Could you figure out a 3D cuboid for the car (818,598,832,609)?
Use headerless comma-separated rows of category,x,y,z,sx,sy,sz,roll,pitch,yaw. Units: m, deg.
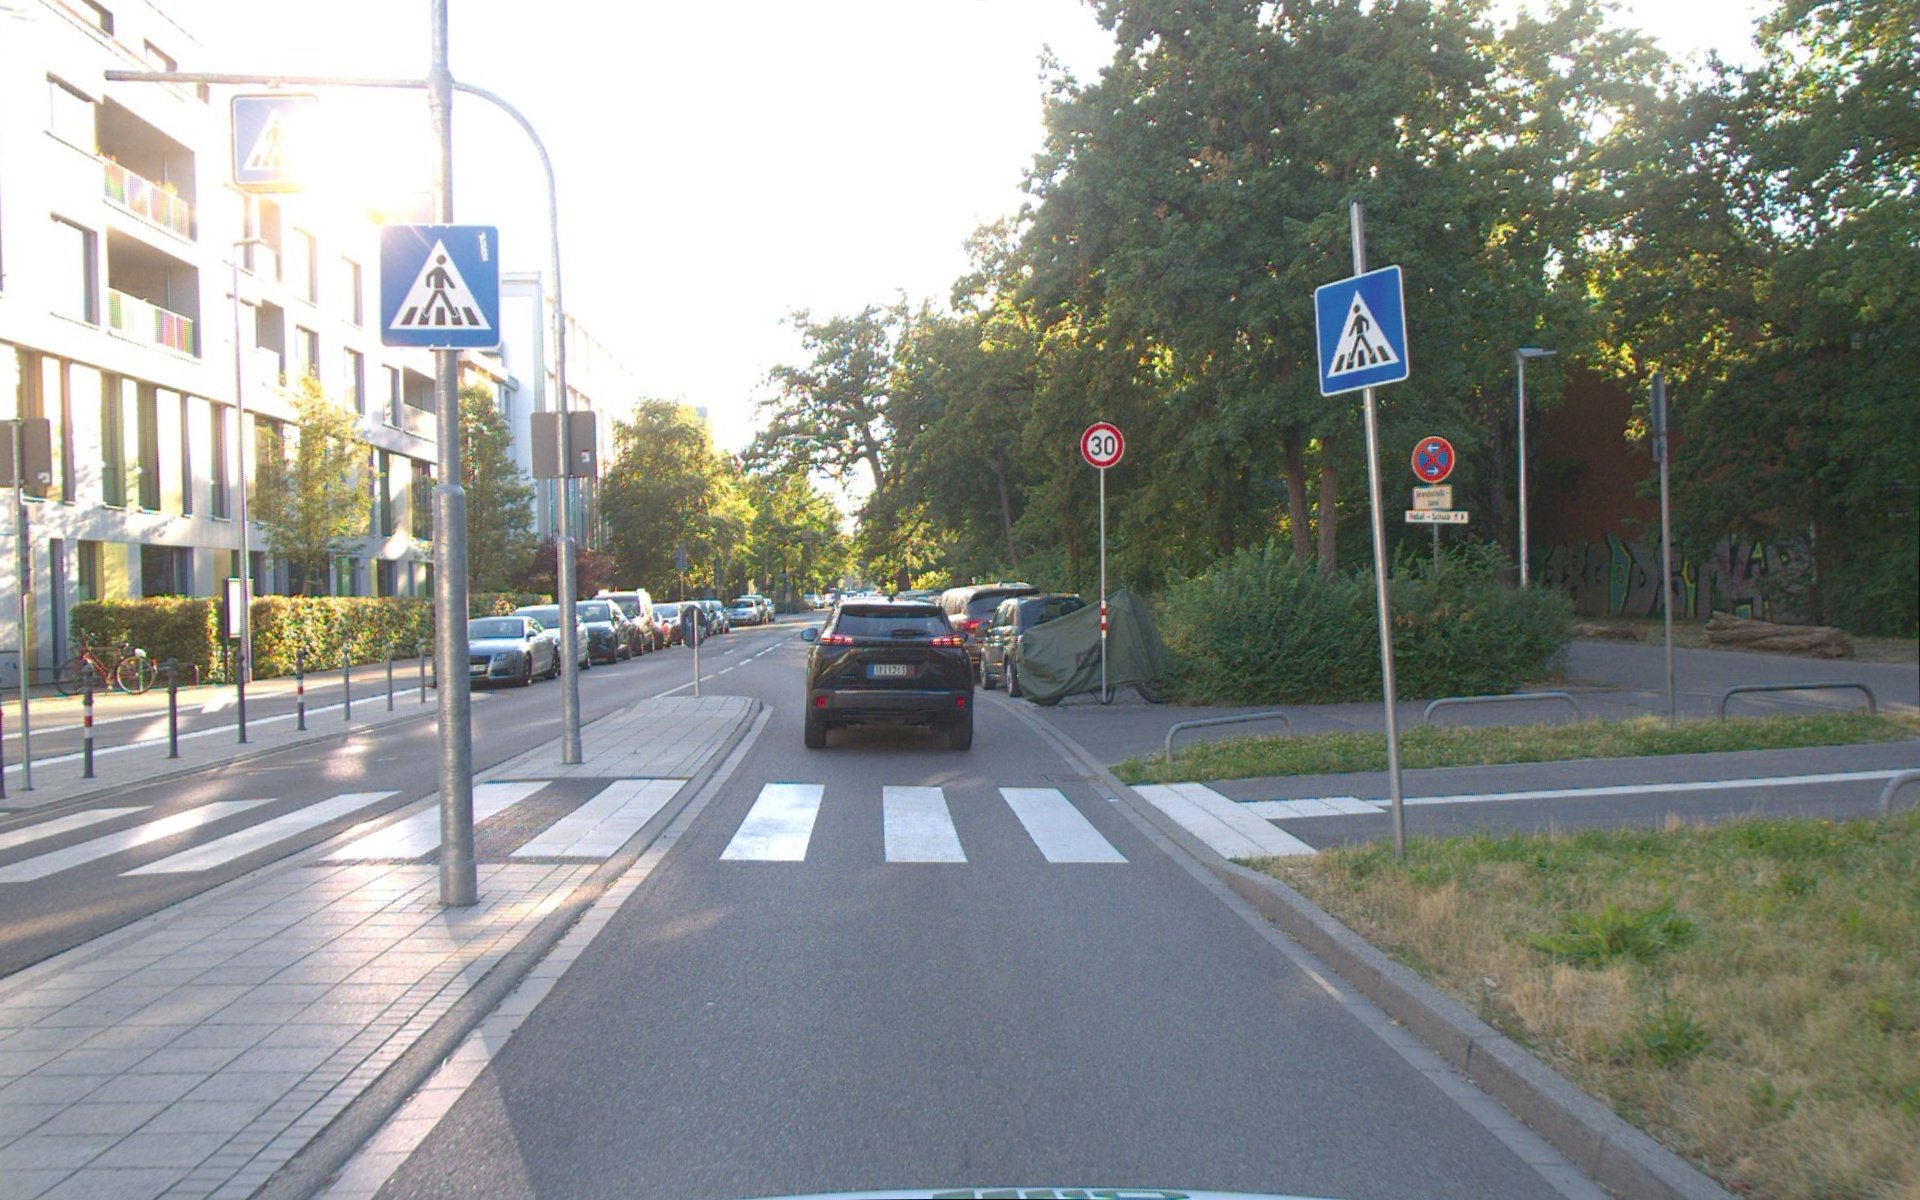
car,-18.115,0.464,221.442,1.776,1.377,3.973,-2,0,-7

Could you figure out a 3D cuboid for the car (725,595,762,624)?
car,-12.073,0.539,92.471,1.637,1.520,4.059,-2,0,-2

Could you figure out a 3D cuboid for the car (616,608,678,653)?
car,-10.380,0.998,55.094,1.525,1.302,3.730,-3,1,-4

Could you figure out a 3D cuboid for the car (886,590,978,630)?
car,-1.341,0.462,79.021,4.251,1.500,1.741,-4,1,-2

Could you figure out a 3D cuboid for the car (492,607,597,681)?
car,-9.700,0.991,38.888,1.708,1.560,4.111,-2,0,-5

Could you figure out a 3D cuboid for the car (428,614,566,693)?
car,-9.328,1.035,33.644,1.707,1.380,4.394,-2,0,-3

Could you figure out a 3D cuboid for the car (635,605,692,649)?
car,-10.642,0.940,59.559,1.567,1.480,3.858,-2,0,-4

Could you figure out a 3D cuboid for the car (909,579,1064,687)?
car,0.392,0.572,30.826,1.888,1.779,4.652,-2,0,-12

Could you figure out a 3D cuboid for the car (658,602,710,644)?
car,-10.915,0.891,65.641,1.567,1.480,4.052,-3,1,-4

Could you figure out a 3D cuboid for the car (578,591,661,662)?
car,-10.202,0.750,49.828,1.772,1.922,4.235,-3,1,-4

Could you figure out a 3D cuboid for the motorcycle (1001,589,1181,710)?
motorcycle,1.812,0.676,22.725,2.243,1.572,1.040,-2,0,18

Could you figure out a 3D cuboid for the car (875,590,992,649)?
car,-0.869,0.601,53.122,3.540,1.551,1.670,-5,1,-5

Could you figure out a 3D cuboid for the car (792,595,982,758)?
car,-0.877,0.756,17.931,1.735,1.596,3.374,0,0,-8

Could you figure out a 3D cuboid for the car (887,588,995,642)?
car,-0.697,0.506,58.196,3.596,1.579,1.733,-5,1,-5

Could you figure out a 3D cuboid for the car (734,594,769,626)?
car,-12.354,0.584,98.211,1.646,1.738,4.338,-3,1,-2

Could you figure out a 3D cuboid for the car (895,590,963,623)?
car,-1.709,0.355,89.840,3.518,1.593,1.817,-4,-1,-4

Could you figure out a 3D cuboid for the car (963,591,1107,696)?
car,1.147,0.649,26.673,1.590,1.512,3.411,-2,0,-10

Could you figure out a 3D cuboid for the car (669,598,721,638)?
car,-11.230,0.753,70.260,1.566,1.534,3.786,-3,1,-1

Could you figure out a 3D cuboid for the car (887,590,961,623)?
car,-2.025,0.336,92.305,4.040,1.696,1.722,-2,0,-3

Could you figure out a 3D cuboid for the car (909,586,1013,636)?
car,0.015,0.408,60.900,3.652,1.524,1.819,-5,0,-3

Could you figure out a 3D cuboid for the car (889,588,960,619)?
car,-2.078,0.203,97.045,4.084,1.740,1.867,-1,0,1

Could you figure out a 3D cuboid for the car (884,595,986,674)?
car,-0.618,0.723,36.828,1.620,1.595,4.292,-2,0,-9

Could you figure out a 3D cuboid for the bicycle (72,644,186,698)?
bicycle,-14.951,1.272,29.767,1.717,0.934,0.617,0,0,-5

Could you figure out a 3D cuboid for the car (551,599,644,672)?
car,-9.643,0.898,44.331,1.708,1.705,4.413,-3,1,-4
